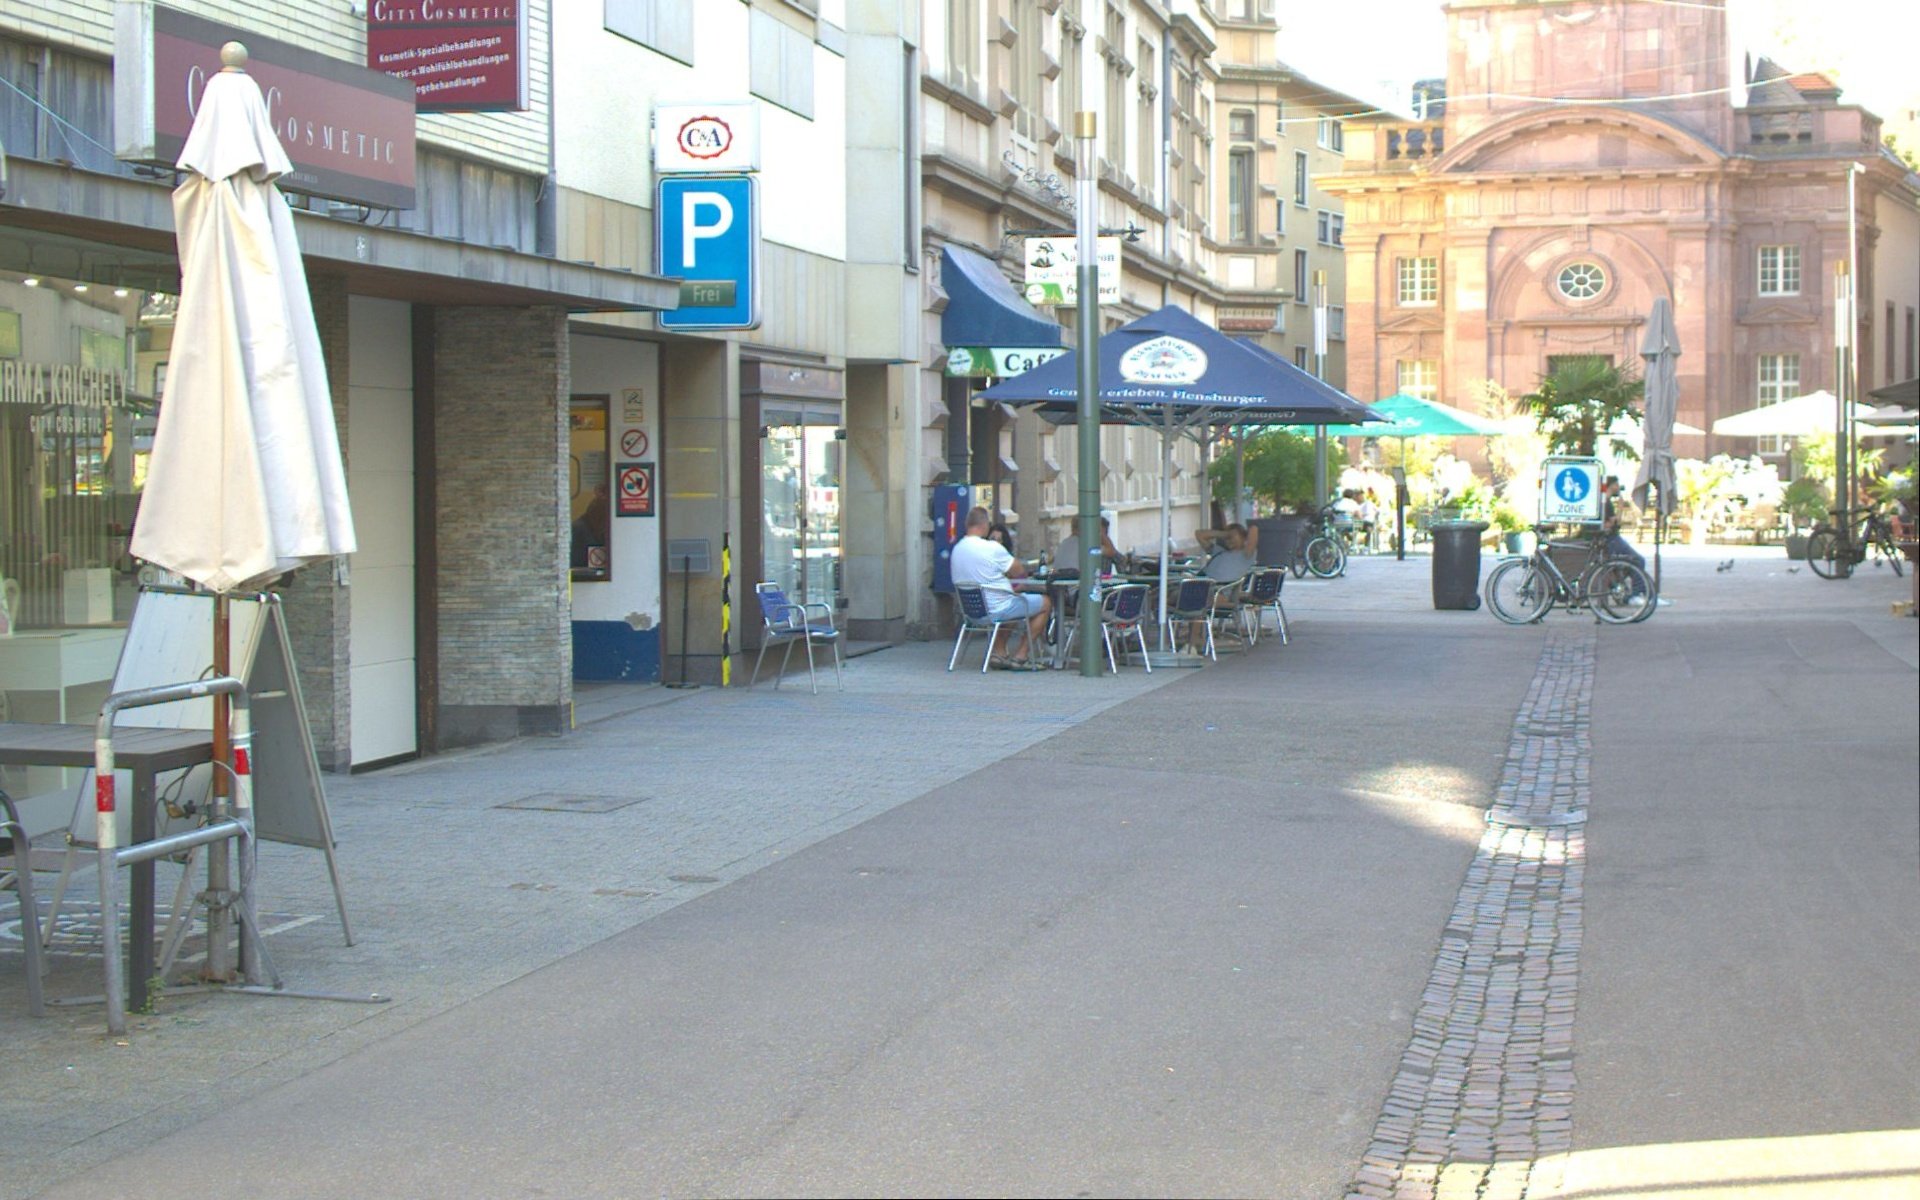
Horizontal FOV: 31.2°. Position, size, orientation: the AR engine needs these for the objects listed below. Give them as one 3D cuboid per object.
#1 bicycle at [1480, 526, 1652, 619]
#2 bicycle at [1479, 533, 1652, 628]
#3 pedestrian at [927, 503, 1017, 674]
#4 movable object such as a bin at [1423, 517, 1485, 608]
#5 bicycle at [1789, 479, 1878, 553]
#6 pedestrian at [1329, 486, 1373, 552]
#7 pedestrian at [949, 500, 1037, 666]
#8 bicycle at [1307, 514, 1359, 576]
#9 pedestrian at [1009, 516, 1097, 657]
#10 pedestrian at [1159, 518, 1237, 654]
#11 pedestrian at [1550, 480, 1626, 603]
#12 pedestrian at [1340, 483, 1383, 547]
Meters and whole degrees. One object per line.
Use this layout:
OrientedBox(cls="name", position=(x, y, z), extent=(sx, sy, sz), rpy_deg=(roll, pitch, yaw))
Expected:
OrientedBox(cls="bicycle", position=(6.586, -0.301, 37.414), extent=(1.824, 1.001, 0.381), rpy_deg=(0, 2, 8))
OrientedBox(cls="bicycle", position=(6.513, -0.216, 37.025), extent=(1.824, 1.001, 0.381), rpy_deg=(0, 2, 8))
OrientedBox(cls="pedestrian", position=(0.095, -0.101, 27.835), extent=(0.708, 1.363, 0.720), rpy_deg=(0, 2, -1))
OrientedBox(cls="movable object such as a bin", position=(5.833, -0.444, 40.603), extent=(0.721, 1.071, 0.374), rpy_deg=(0, 2, 9))
OrientedBox(cls="bicycle", position=(15.684, -1.513, 61.704), extent=(1.585, 1.303, 0.366), rpy_deg=(-1, 2, -18))
OrientedBox(cls="pedestrian", position=(7.263, -1.502, 63.885), extent=(0.701, 1.213, 0.719), rpy_deg=(1, 2, 16))
OrientedBox(cls="pedestrian", position=(0.273, -0.151, 28.825), extent=(0.717, 1.363, 0.710), rpy_deg=(0, 2, -1))
OrientedBox(cls="bicycle", position=(5.398, -0.809, 49.723), extent=(0.457, 0.847, 2.145), rpy_deg=(0, 2, 14))
OrientedBox(cls="pedestrian", position=(0.836, -0.128, 30.612), extent=(0.765, 1.229, 0.831), rpy_deg=(0, 2, 3))
OrientedBox(cls="pedestrian", position=(2.148, -0.134, 31.107), extent=(0.692, 1.211, 0.583), rpy_deg=(0, 2, 3))
OrientedBox(cls="pedestrian", position=(7.592, -0.713, 41.528), extent=(0.884, 1.459, 0.730), rpy_deg=(0, 2, 11))
OrientedBox(cls="pedestrian", position=(7.628, -1.614, 65.269), extent=(0.701, 1.213, 0.719), rpy_deg=(1, 2, 16))
